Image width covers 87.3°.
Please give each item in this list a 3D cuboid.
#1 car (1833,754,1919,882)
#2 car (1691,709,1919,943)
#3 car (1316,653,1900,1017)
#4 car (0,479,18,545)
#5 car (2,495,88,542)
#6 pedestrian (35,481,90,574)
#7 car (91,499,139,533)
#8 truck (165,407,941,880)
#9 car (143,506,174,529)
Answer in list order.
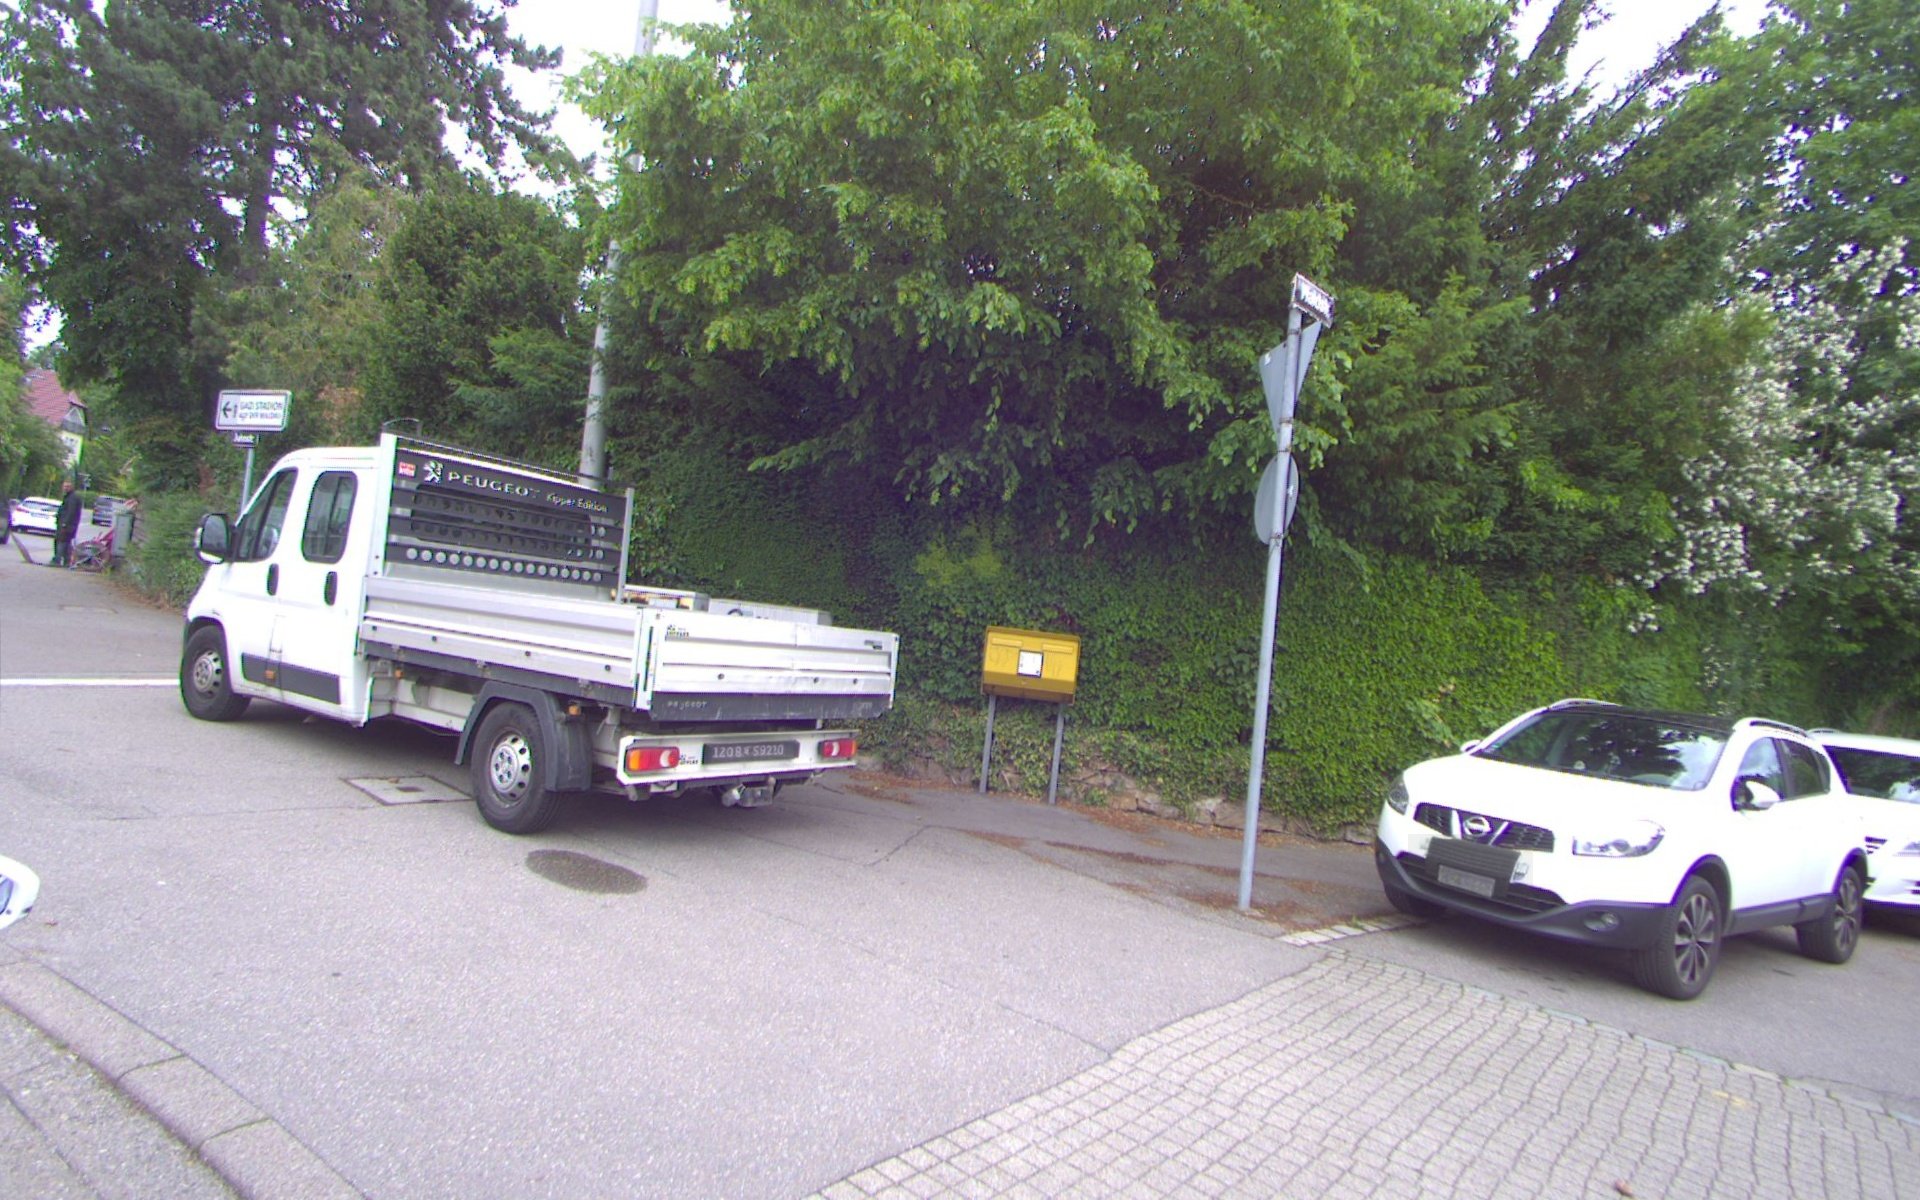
[{"bbox_3d":[13.500,2.993,13.615,4.040,1.440,1.780,8,-2,-39],"label":"car"},{"bbox_3d":[8.782,2.094,9.635,4.041,1.641,1.780,9,-3,-39],"label":"car"},{"bbox_3d":[4.512,1.447,6.808,4.098,1.641,1.783,9,-2,-34],"label":"car"},{"bbox_3d":[-28.527,-2.665,28.485,1.911,1.915,4.858,10,-2,-37],"label":"car"},{"bbox_3d":[-36.667,-3.242,40.420,1.832,1.476,4.040,10,-3,-35],"label":"car"},{"bbox_3d":[-19.764,-1.592,22.154,0.549,1.929,0.597,7,-1,32],"label":"pedestrian"},{"bbox_3d":[-56.517,-5.590,67.350,1.930,1.846,4.038,10,-2,-36],"label":"car"},{"bbox_3d":[-3.190,0.059,7.288,5.631,2.270,2.211,6,-2,34],"label":"truck"},{"bbox_3d":[-77.164,-7.923,96.923,1.930,1.846,4.038,10,-2,-36],"label":"car"}]
